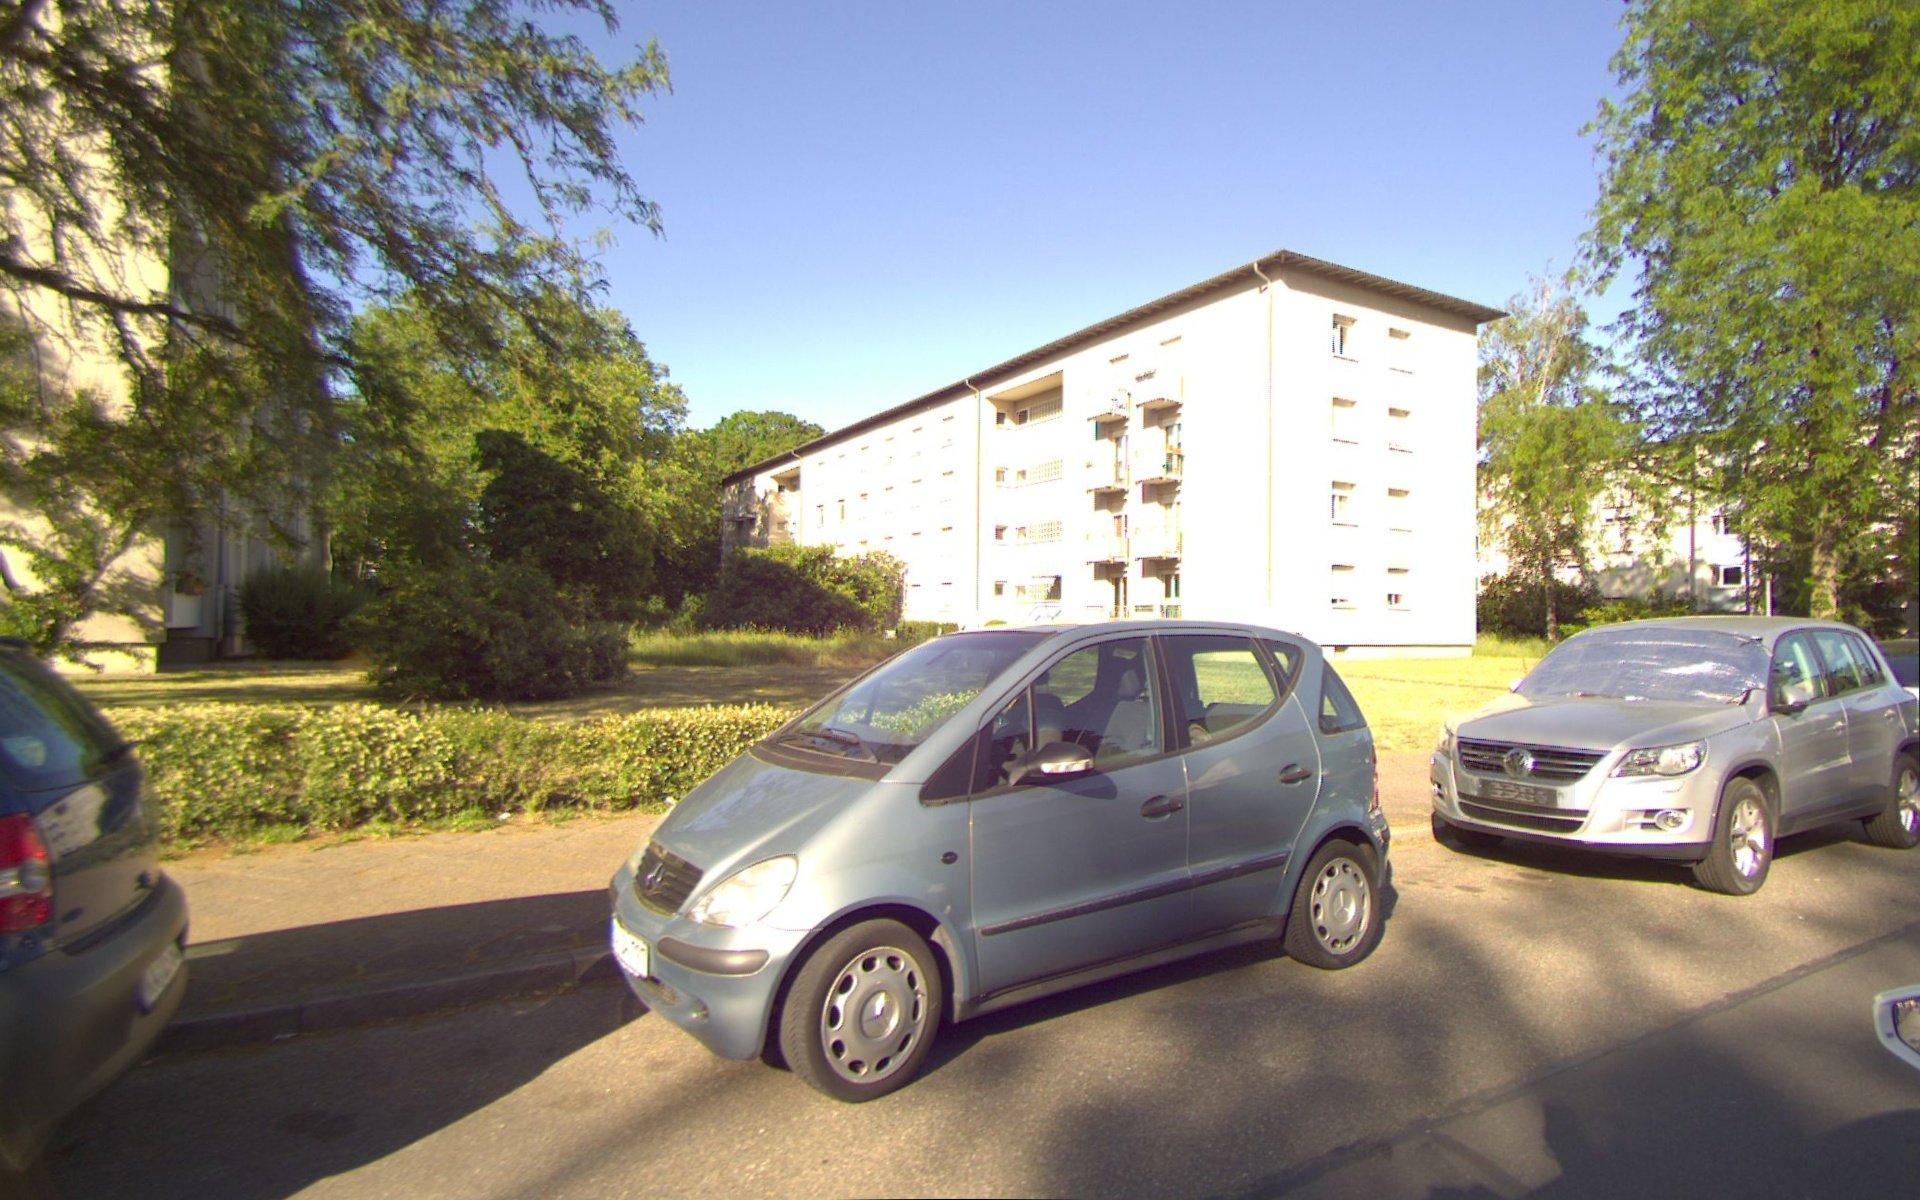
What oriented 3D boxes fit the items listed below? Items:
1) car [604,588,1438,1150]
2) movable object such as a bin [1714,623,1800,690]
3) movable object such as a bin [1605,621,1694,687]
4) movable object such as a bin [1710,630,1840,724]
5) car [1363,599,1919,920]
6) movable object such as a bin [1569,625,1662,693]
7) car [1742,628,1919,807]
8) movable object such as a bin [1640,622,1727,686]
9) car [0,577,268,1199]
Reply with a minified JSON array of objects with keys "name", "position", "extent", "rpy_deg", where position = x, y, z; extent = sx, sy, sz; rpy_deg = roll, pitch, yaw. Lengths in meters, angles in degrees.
[{"name":"car","position":[0.373,0.838,4.562],"extent":[3.496,1.627,1.627],"rpy_deg":[1,-2,-32]},{"name":"movable object such as a bin","position":[18.585,1.291,23.432],"extent":[1.344,1.440,1.129],"rpy_deg":[1,1,-29]},{"name":"movable object such as a bin","position":[16.142,1.240,23.526],"extent":[1.444,1.440,1.172],"rpy_deg":[1,1,-29]},{"name":"movable object such as a bin","position":[12.915,1.186,15.936],"extent":[1.327,1.358,1.172],"rpy_deg":[1,1,-29]},{"name":"car","position":[5.068,0.896,7.149],"extent":[4.299,1.661,1.894],"rpy_deg":[1,-2,-31]},{"name":"movable object such as a bin","position":[14.830,1.309,22.737],"extent":[1.444,1.440,1.172],"rpy_deg":[1,1,-29]},{"name":"car","position":[9.703,1.061,10.024],"extent":[3.899,1.533,1.655],"rpy_deg":[1,-2,-30]},{"name":"movable object such as a bin","position":[17.458,1.278,24.250],"extent":[1.444,1.440,1.172],"rpy_deg":[1,1,-29]},{"name":"car","position":[-3.840,0.783,1.964],"extent":[3.922,1.627,1.746],"rpy_deg":[1,-3,-30]}]
